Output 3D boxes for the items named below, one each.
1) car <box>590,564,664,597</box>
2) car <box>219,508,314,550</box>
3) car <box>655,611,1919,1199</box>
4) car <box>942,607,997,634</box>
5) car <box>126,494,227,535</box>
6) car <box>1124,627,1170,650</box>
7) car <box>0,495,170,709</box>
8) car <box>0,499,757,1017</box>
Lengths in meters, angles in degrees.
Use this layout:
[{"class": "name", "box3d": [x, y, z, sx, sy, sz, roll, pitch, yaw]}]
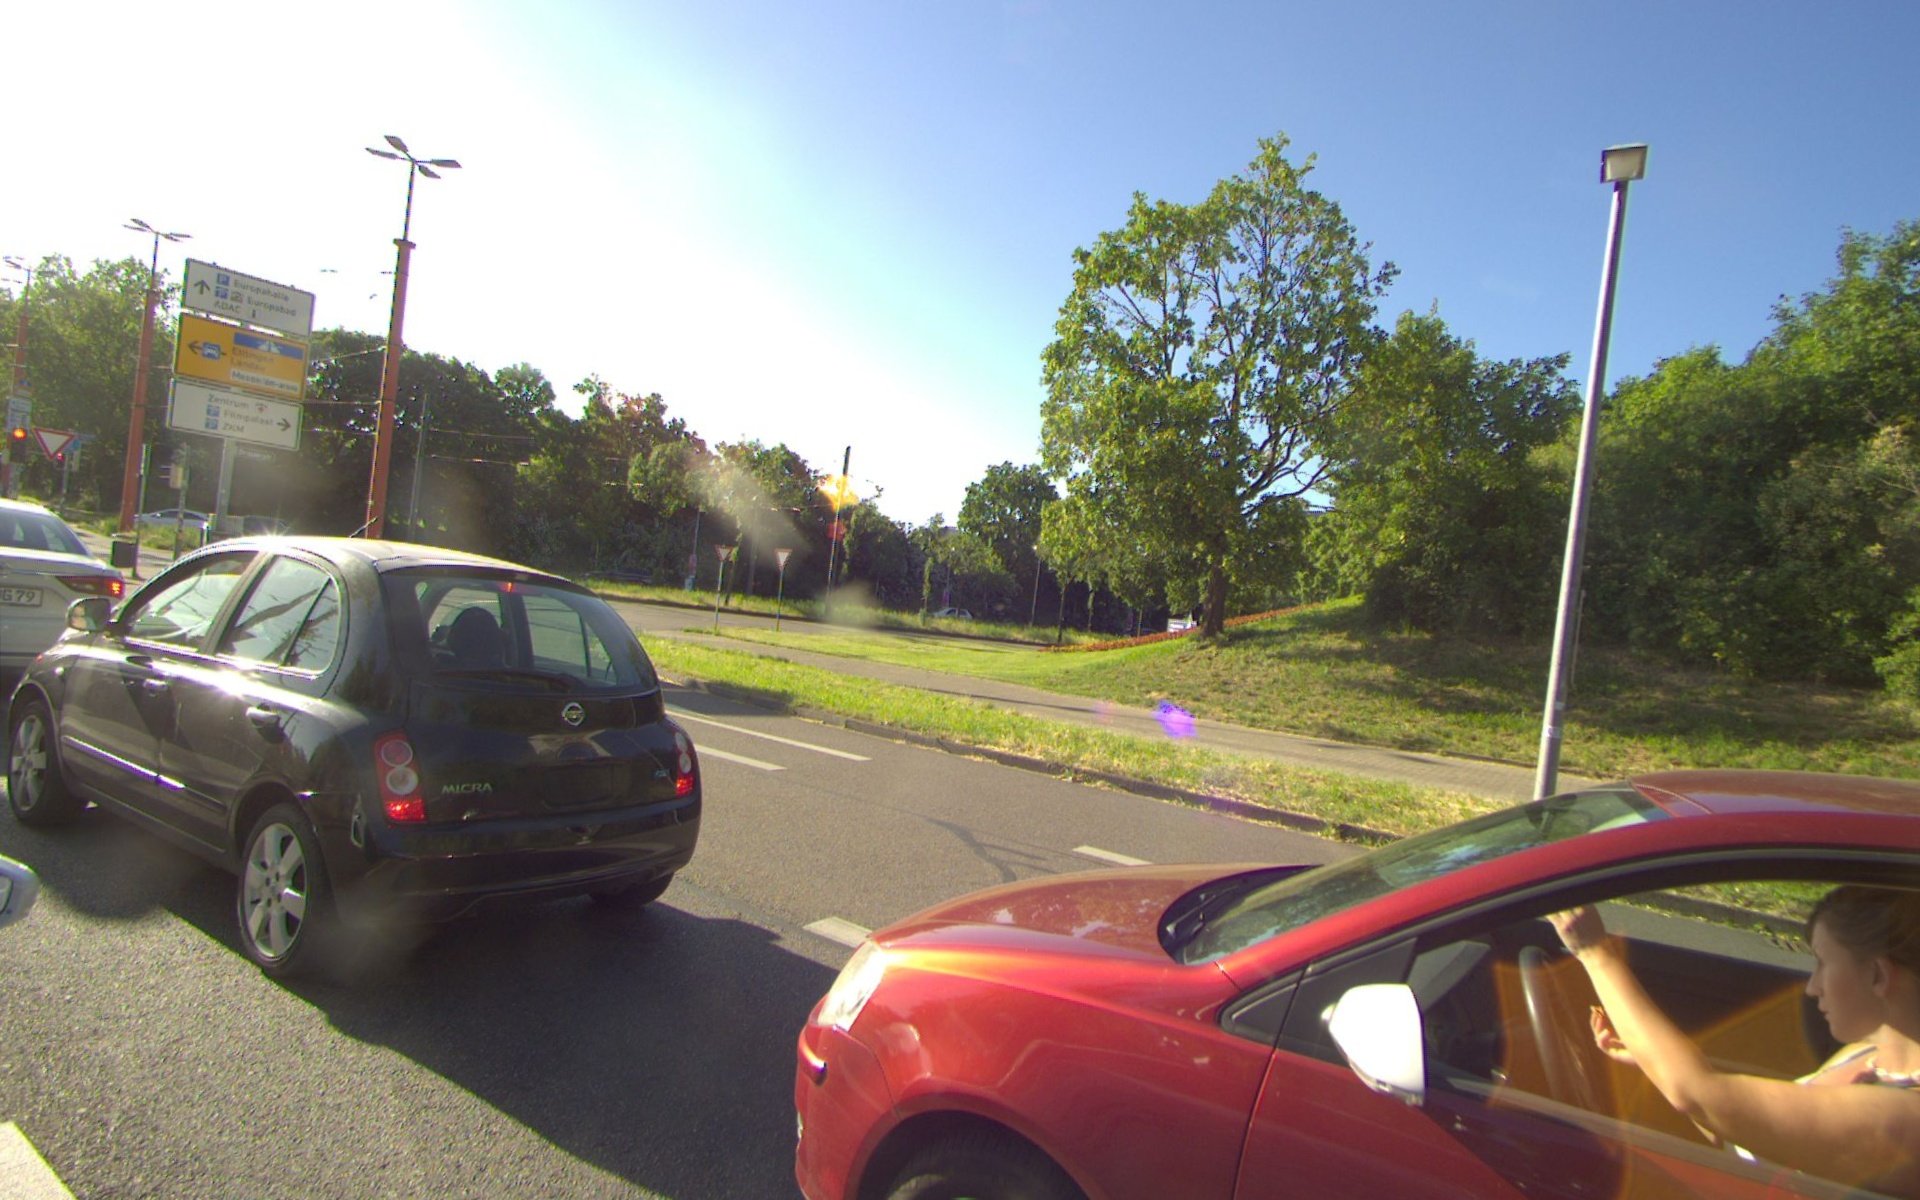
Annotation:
[{"class": "car", "box3d": [-21.271, -1.220, 64.238, 4.105, 1.528, 1.644, 8, -1, -31]}, {"class": "car", "box3d": [-35.830, -3.630, 52.070, 3.764, 1.528, 1.644, 8, -1, -31]}, {"class": "car", "box3d": [1.338, 1.001, 1.873, 3.629, 1.477, 1.579, 6, -2, 32]}, {"class": "car", "box3d": [0.742, 1.599, 77.700, 3.764, 1.528, 1.644, 8, -1, -31]}, {"class": "car", "box3d": [-41.018, -4.453, 52.799, 3.888, 1.474, 1.643, 8, -1, -32]}, {"class": "car", "box3d": [15.818, 3.292, 85.235, 3.774, 1.419, 1.639, 9, -1, -38]}, {"class": "car", "box3d": [-8.377, -0.177, 8.084, 4.256, 1.457, 1.802, 6, -2, 33]}, {"class": "car", "box3d": [-2.805, 0.465, 4.629, 3.385, 1.457, 1.579, 6, -2, 32]}]
